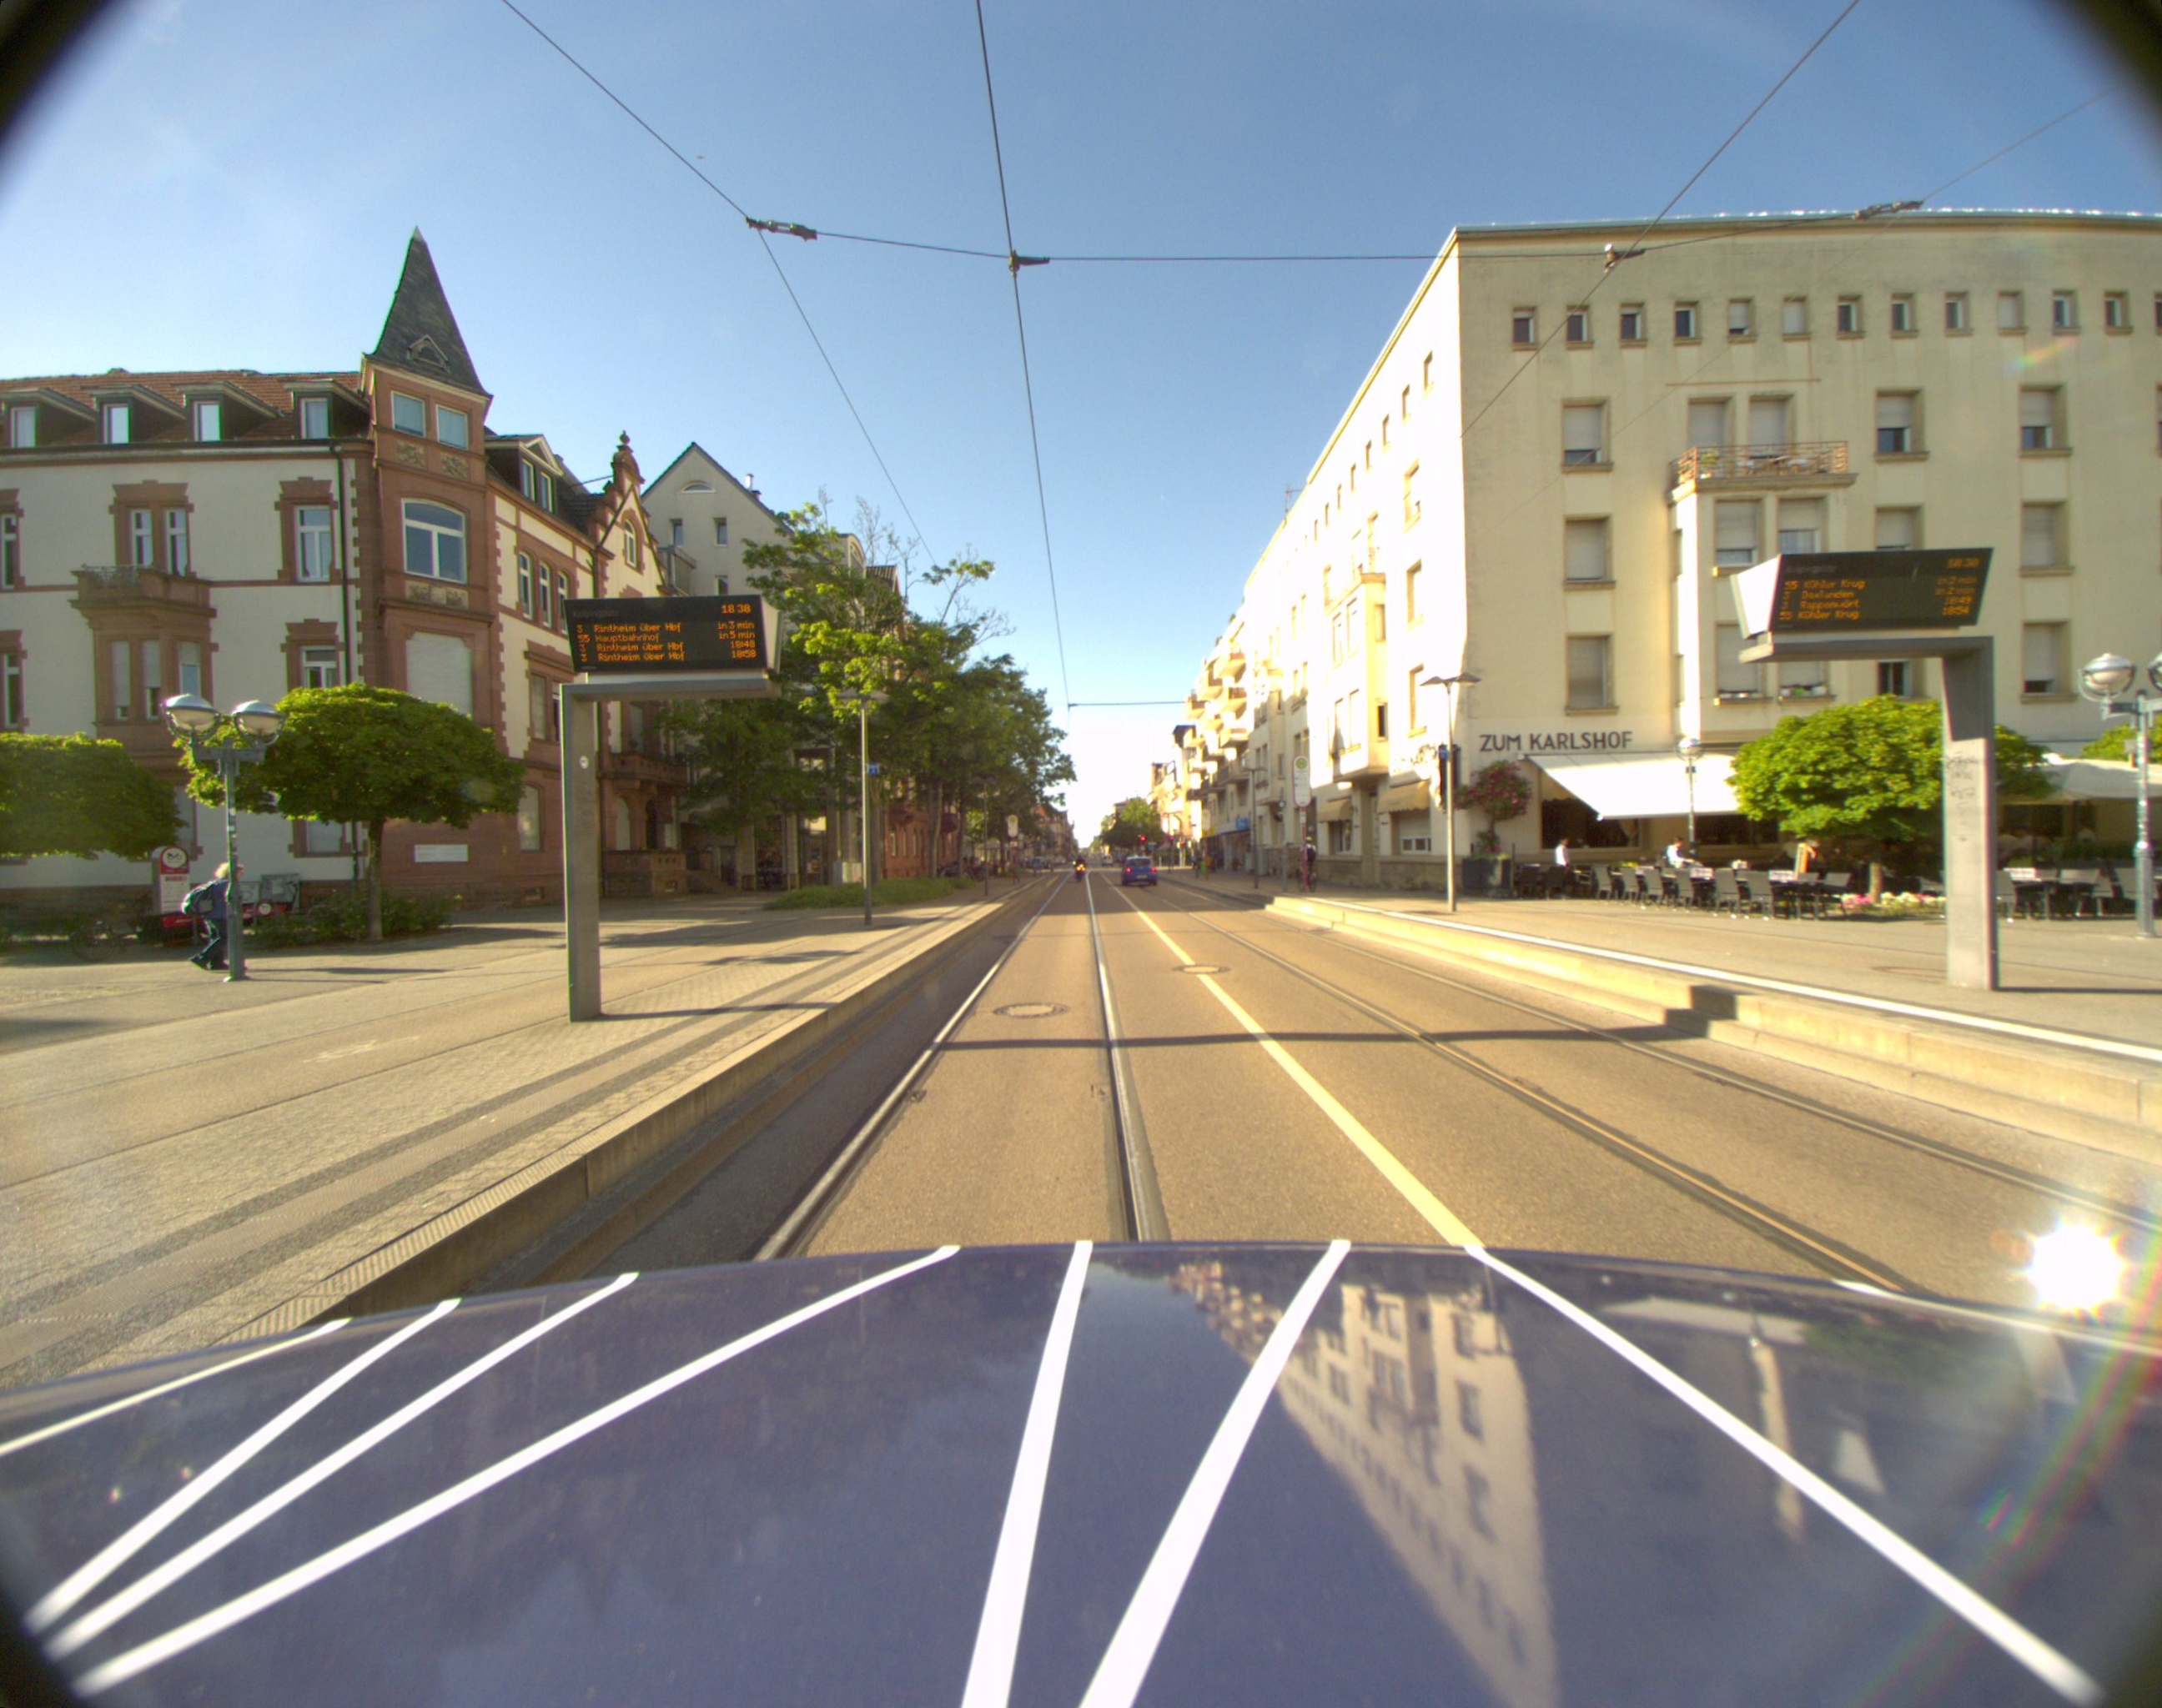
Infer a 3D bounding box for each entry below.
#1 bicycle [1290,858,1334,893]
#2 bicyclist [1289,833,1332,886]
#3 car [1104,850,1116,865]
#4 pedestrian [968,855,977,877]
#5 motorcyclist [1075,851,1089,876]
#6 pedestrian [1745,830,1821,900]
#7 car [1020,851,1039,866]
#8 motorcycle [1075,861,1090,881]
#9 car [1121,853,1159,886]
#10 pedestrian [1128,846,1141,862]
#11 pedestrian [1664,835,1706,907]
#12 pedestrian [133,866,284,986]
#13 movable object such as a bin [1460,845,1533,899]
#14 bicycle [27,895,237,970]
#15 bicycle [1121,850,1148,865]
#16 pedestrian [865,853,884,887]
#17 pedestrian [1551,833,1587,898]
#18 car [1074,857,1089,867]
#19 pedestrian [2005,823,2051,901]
[{"bbox_3d":[7.910,0.729,26.088,0.714,1.119,2.035,-1,0,-6],"label":"bicycle"},{"bbox_3d":[7.859,0.185,26.071,1.007,1.783,1.094,-2,1,-8],"label":"bicyclist"},{"bbox_3d":[4.528,0.514,118.525,1.877,2.105,4.000,-2,1,2],"label":"car"},{"bbox_3d":[-9.843,1.065,68.711,0.653,2.002,0.559,-1,1,3],"label":"pedestrian"},{"bbox_3d":[0.083,0.549,46.205,0.821,1.466,1.114,-1,1,1],"label":"motorcyclist"},{"bbox_3d":[16.641,0.266,18.036,1.066,1.634,0.757,0,-2,-4],"label":"pedestrian"},{"bbox_3d":[-7.119,0.632,105.912,1.998,2.002,4.001,-1,0,4],"label":"car"},{"bbox_3d":[0.106,1.024,46.236,0.799,1.090,2.429,-1,0,1],"label":"motorcycle"},{"bbox_3d":[2.949,0.747,38.570,1.671,1.479,4.000,-2,0,1],"label":"car"},{"bbox_3d":[6.494,0.007,91.849,1.024,2.002,1.174,-2,1,-37],"label":"pedestrian"},{"bbox_3d":[14.013,0.410,17.625,0.672,1.634,0.678,-2,-3,43],"label":"pedestrian"},{"bbox_3d":[-12.945,1.031,11.328,1.070,1.659,0.956,-2,1,-12],"label":"pedestrian"},{"bbox_3d":[11.159,0.462,20.455,1.319,1.392,1.128,-1,1,-1],"label":"movable object such as a bin"},{"bbox_3d":[-18.159,1.453,14.697,0.790,1.062,2.804,-2,2,-8],"label":"bicycle"},{"bbox_3d":[6.468,0.470,91.670,3.113,1.719,1.225,-2,1,-39],"label":"bicycle"},{"bbox_3d":[-10.506,0.804,38.620,0.742,1.725,0.877,-2,1,-6],"label":"pedestrian"},{"bbox_3d":[12.612,0.312,19.665,0.672,1.634,0.752,-1,-2,27],"label":"pedestrian"},{"bbox_3d":[0.064,1.156,107.652,1.998,1.318,3.863,-1,0,1],"label":"car"},{"bbox_3d":[22.609,0.182,18.149,0.578,1.813,0.647,-2,1,-36],"label":"pedestrian"}]
